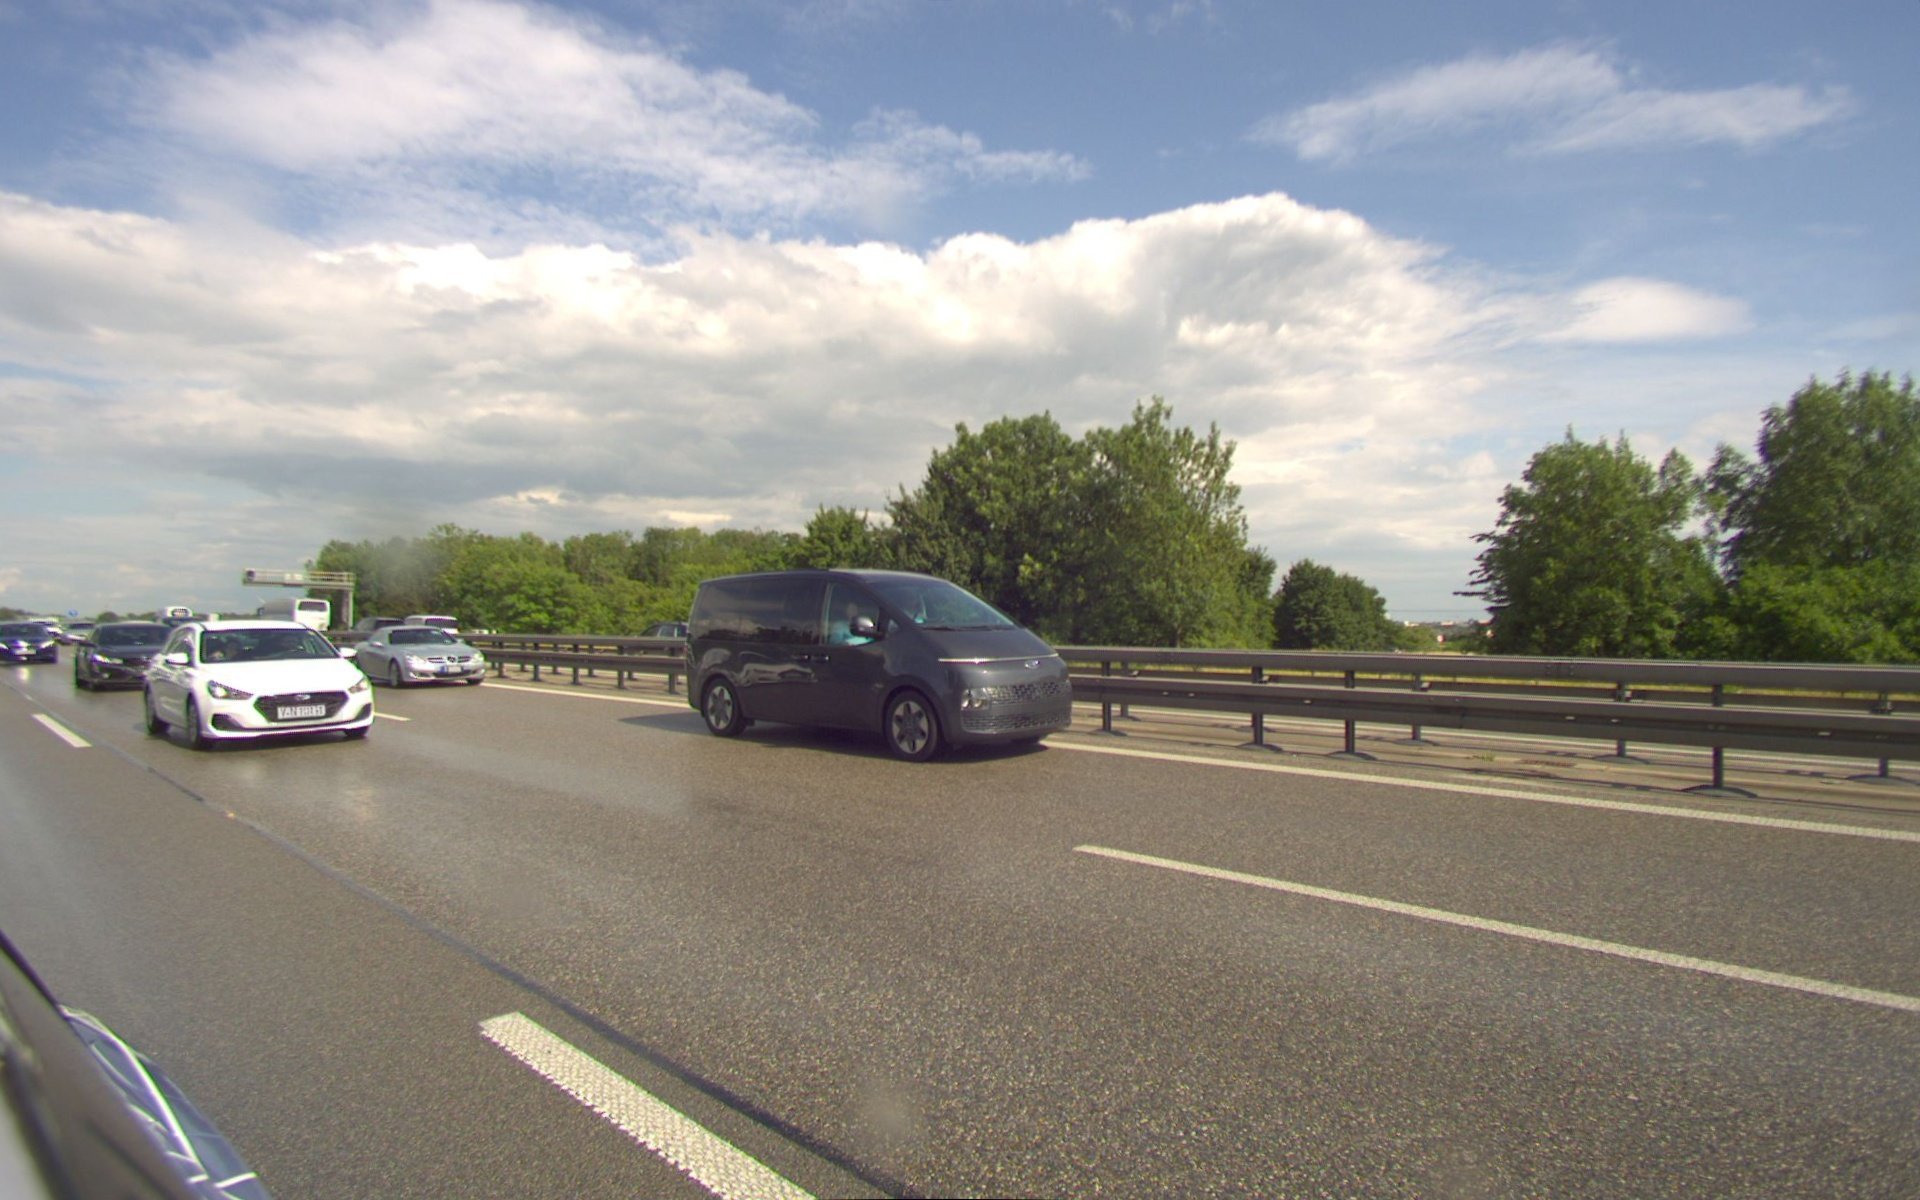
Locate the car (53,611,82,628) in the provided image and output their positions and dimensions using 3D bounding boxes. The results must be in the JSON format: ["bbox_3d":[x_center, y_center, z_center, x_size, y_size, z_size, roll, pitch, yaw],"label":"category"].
[{"bbox_3d":[-97.496,2.122,110.511,4.461,1.792,1.972,-1,-1,43],"label":"car"}]

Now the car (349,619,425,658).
[{"bbox_3d":[-25.975,1.710,45.843,3.830,1.641,1.861,-1,-2,42],"label":"car"}]

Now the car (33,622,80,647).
[{"bbox_3d":[-61.940,2.333,69.333,3.999,1.490,1.972,0,1,42],"label":"car"}]

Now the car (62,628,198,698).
[{"bbox_3d":[-18.164,1.307,22.086,4.287,1.348,1.706,-1,-1,42],"label":"car"}]

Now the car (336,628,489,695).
[{"bbox_3d":[-11.943,1.260,21.965,4.063,1.288,1.706,-1,-1,42],"label":"car"}]

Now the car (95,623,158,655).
[{"bbox_3d":[-39.690,1.826,48.169,3.999,1.389,1.748,0,-1,42],"label":"car"}]

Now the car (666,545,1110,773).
[{"bbox_3d":[-1.050,0.577,11.523,5.268,2.029,1.972,-1,-1,42],"label":"car"}]

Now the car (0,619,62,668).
[{"bbox_3d":[-32.571,1.473,34.897,3.999,1.497,1.972,0,1,42],"label":"car"}]

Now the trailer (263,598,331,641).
[{"bbox_3d":[-55.528,1.632,84.591,9.563,3.407,2.699,-1,-1,44],"label":"trailer"}]

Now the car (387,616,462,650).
[{"bbox_3d":[-28.387,1.719,53.598,4.944,1.747,1.972,-1,-1,42],"label":"car"}]

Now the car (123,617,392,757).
[{"bbox_3d":[-9.037,0.964,12.863,4.547,1.466,1.861,-1,-1,42],"label":"car"}]

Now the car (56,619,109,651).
[{"bbox_3d":[-53.288,2.105,61.434,3.999,1.761,1.972,0,1,42],"label":"car"}]

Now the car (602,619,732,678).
[{"bbox_3d":[-8.885,1.402,30.542,3.999,1.641,1.972,-1,-2,42],"label":"car"}]

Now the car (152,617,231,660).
[{"bbox_3d":[-30.708,1.499,40.401,4.229,1.618,1.850,-1,-1,44],"label":"car"}]

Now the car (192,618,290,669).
[{"bbox_3d":[-22.565,1.313,31.721,4.139,1.436,1.747,-1,0,44],"label":"car"}]
